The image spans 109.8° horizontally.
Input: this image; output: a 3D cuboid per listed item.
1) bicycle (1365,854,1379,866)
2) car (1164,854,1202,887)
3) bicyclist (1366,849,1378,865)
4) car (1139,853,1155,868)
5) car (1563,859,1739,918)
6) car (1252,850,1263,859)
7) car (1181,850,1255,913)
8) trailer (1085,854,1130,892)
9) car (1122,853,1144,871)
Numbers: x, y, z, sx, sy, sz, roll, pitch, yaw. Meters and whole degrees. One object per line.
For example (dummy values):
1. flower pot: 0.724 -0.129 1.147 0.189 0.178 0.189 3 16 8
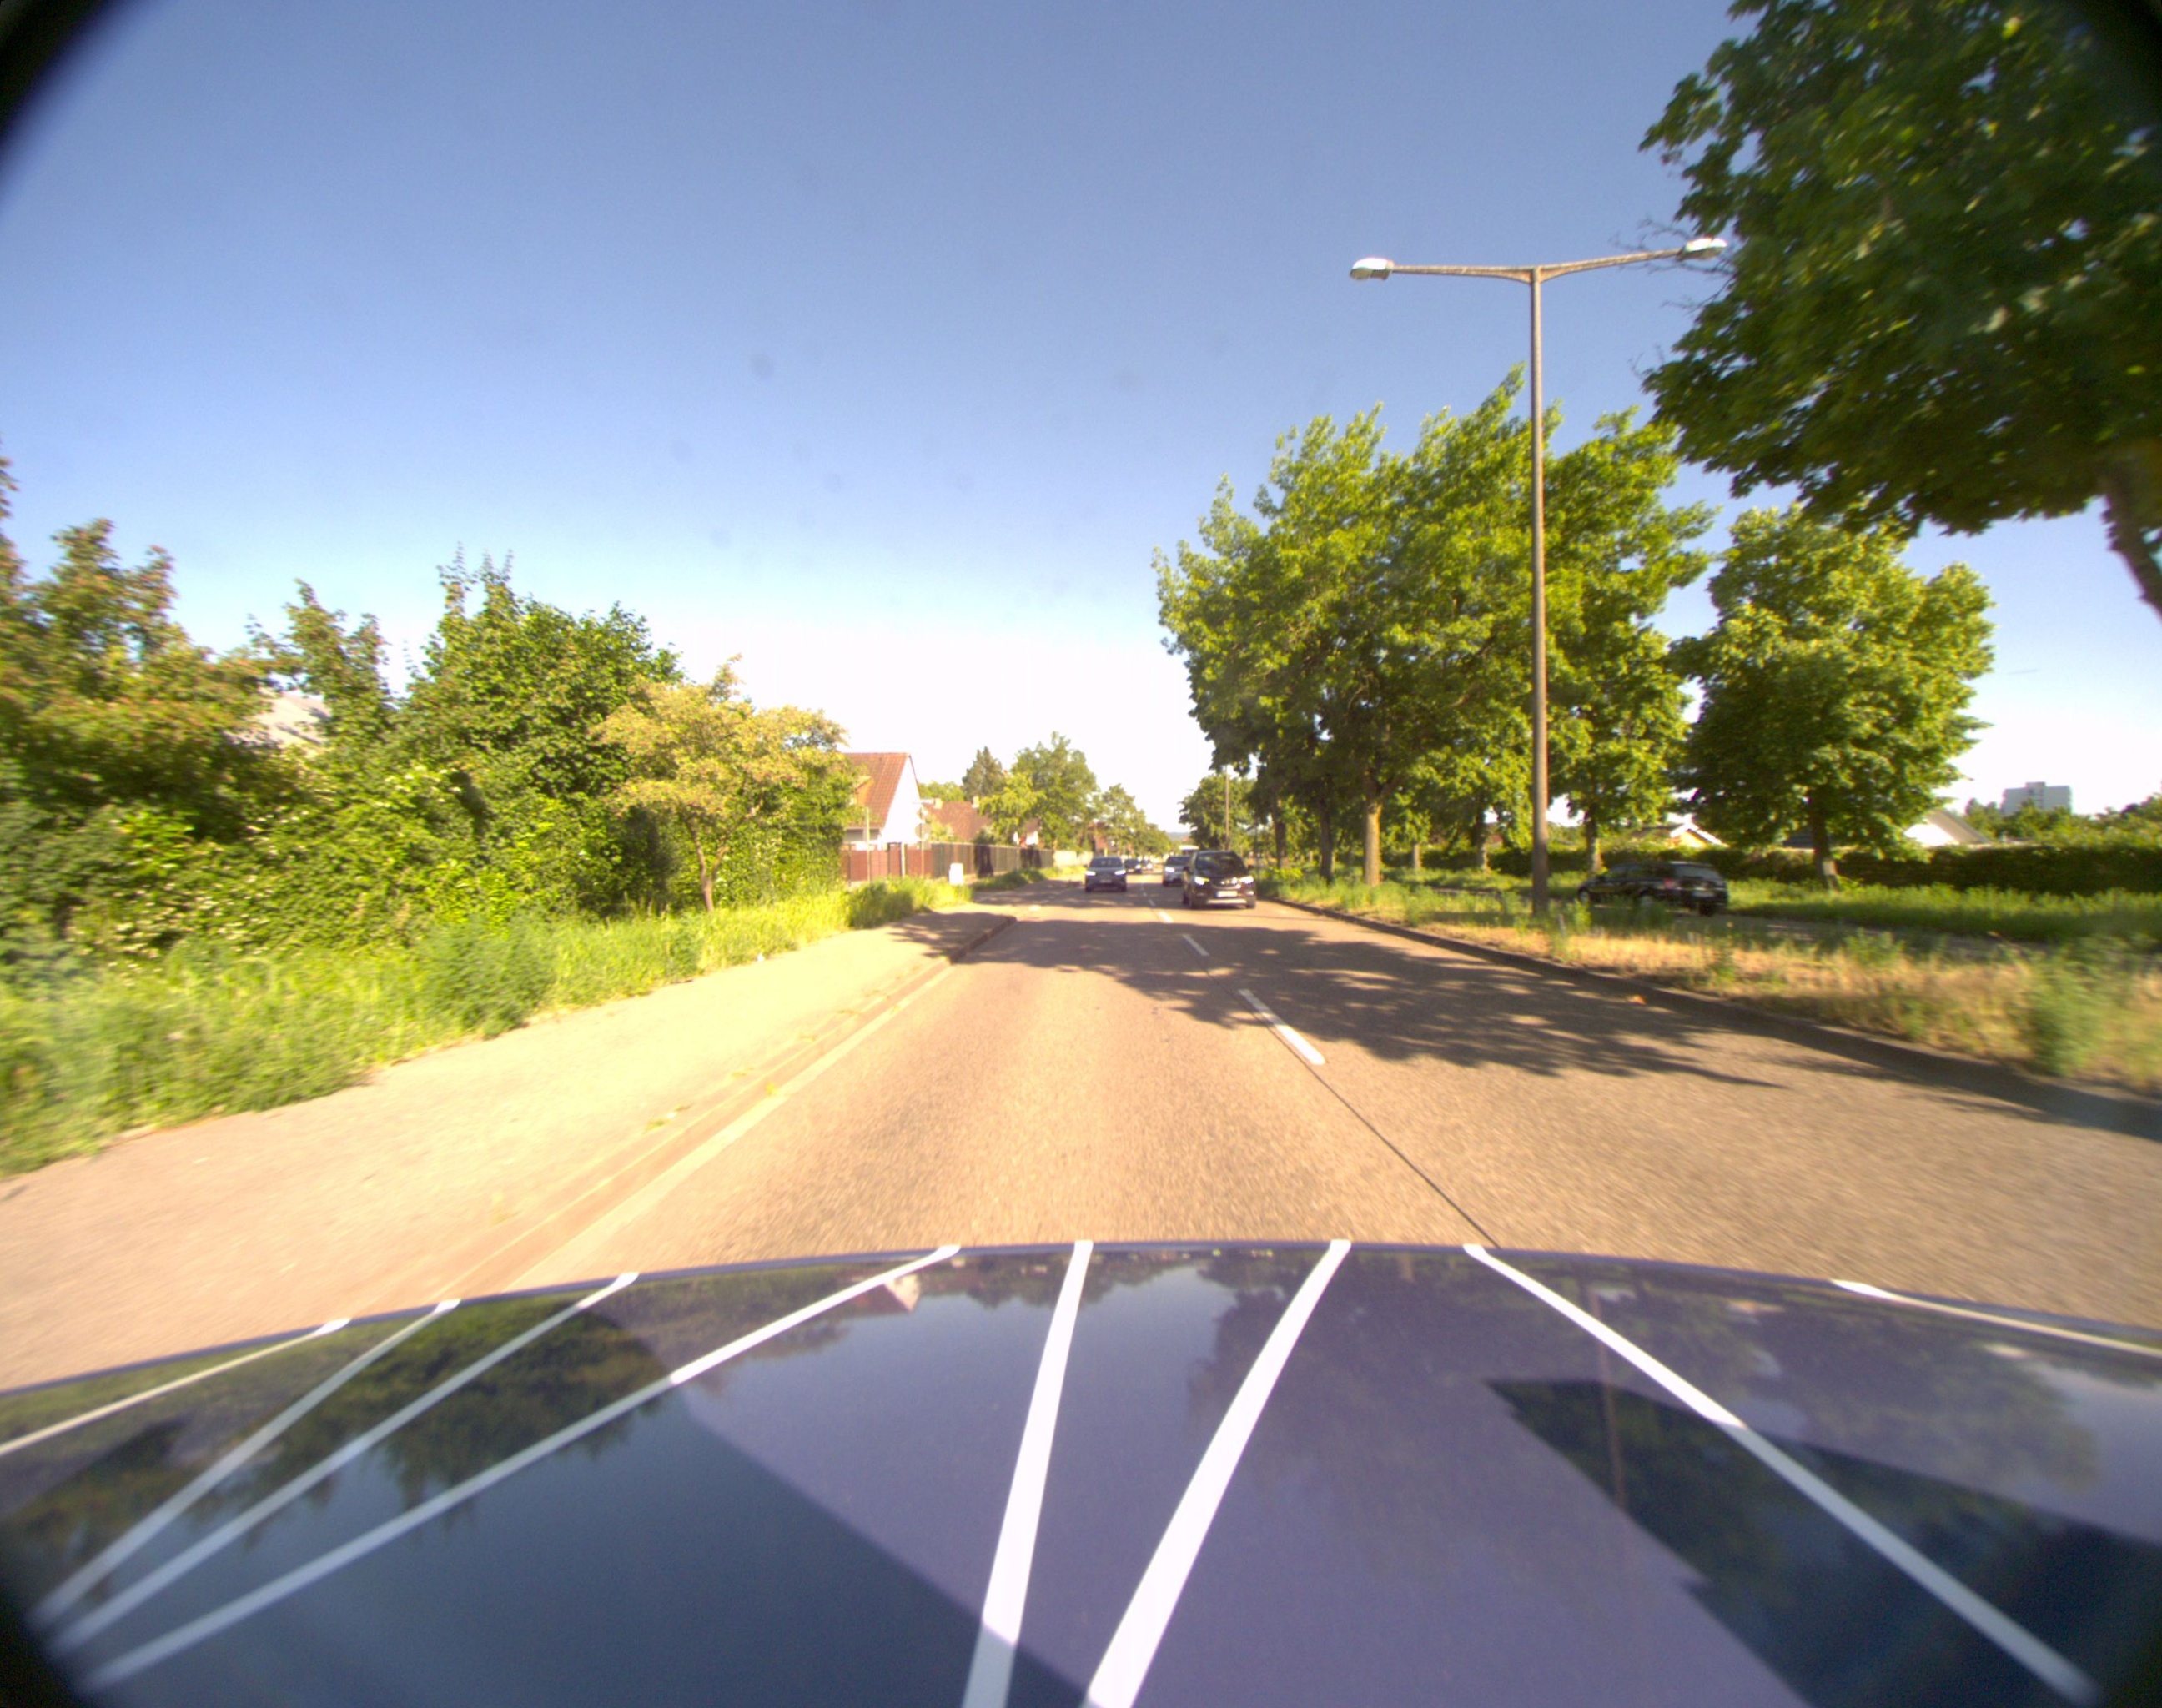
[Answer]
1. bicycle: 25.139 0.507 65.727 0.691 0.990 1.842 -1 0 6
2. car: 5.333 0.798 39.498 1.822 1.553 4.649 -1 0 9
3. bicyclist: 25.126 0.273 65.670 0.691 1.412 1.001 -1 0 6
4. car: 7.804 0.736 89.921 1.823 1.587 4.274 -1 0 6
5. car: 16.282 0.909 22.079 1.696 1.428 4.942 1 0 5
6. car: 34.646 0.092 149.167 1.941 1.647 4.003 -2 0 10
7. car: 3.927 0.715 22.410 1.810 1.605 4.516 -1 1 6
8. trailer: 1.228 0.814 34.936 1.897 1.585 4.001 -2 0 2
9. car: 4.819 0.746 70.560 1.822 1.553 4.274 -1 1 6
